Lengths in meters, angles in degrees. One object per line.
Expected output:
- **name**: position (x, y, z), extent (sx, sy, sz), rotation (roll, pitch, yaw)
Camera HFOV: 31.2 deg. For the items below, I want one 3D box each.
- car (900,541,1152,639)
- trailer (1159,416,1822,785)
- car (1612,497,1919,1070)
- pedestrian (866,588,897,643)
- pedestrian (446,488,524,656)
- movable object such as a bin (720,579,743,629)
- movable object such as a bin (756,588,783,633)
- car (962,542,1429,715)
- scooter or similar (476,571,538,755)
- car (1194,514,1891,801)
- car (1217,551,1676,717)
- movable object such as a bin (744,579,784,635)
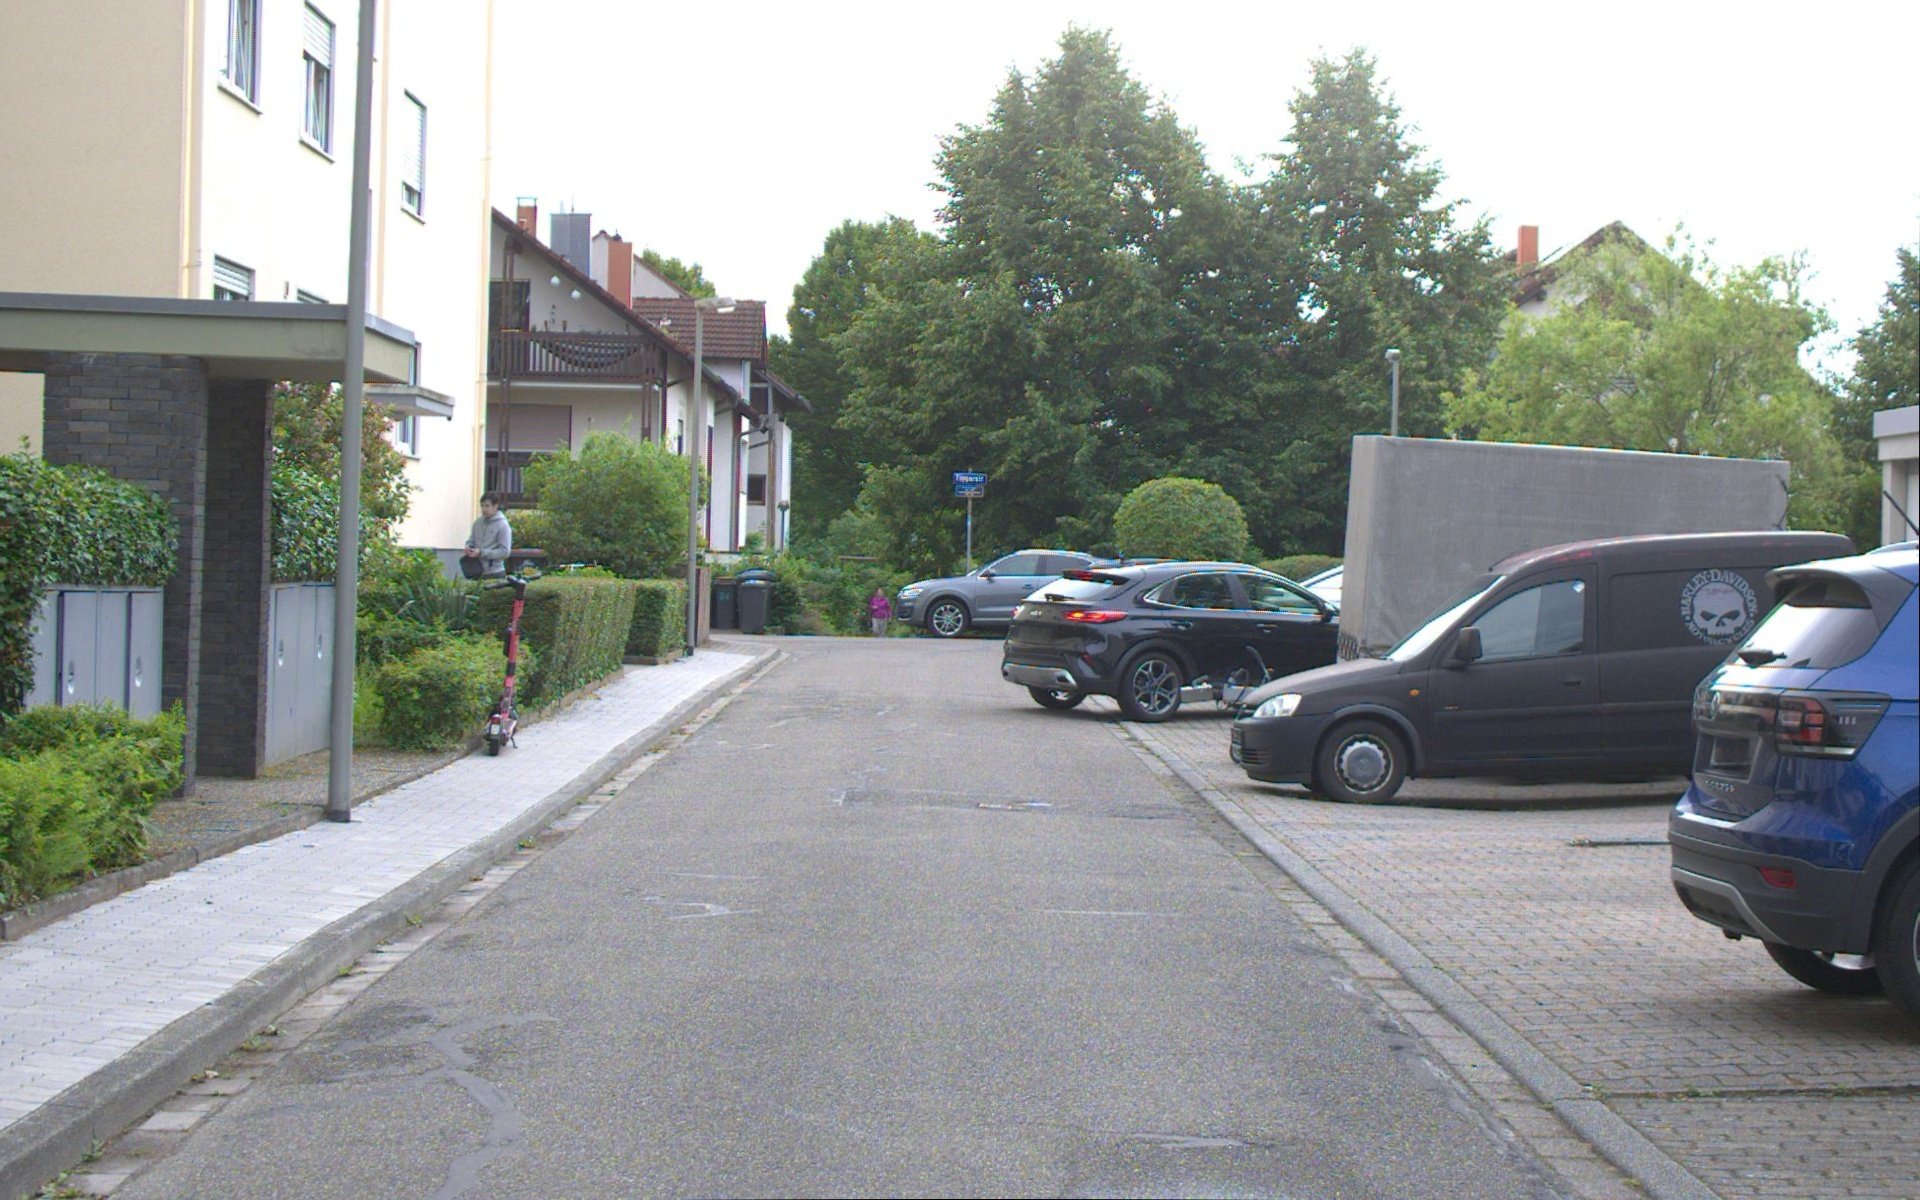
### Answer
- **car**: position (1.108, -0.161, 59.392), extent (4.237, 1.526, 1.747), rotation (2, -1, -1)
- **trailer**: position (3.902, -0.010, 25.923), extent (4.609, 2.516, 1.943), rotation (2, 1, 0)
- **car**: position (4.333, 0.507, 11.229), extent (3.987, 1.697, 2.000), rotation (-1, 1, -1)
- **pedestrian**: position (-2.203, 0.439, 96.020), extent (0.815, 1.512, 0.438), rotation (1, 0, -3)
- **pedestrian**: position (-5.081, -0.301, 36.786), extent (0.679, 1.743, 0.756), rotation (3, 0, -2)
- **movable object such as a bin**: position (-4.184, 0.069, 62.982), extent (0.386, 0.886, 0.379), rotation (3, 0, -3)
- **movable object such as a bin**: position (-3.507, 0.193, 63.327), extent (0.459, 0.795, 0.379), rotation (3, 0, -3)
- **car**: position (2.246, 0.230, 32.873), extent (3.986, 1.546, 2.000), rotation (-1, 1, -24)
- **scooter or similar**: position (-3.089, 0.416, 23.481), extent (0.272, 1.206, 1.164), rotation (1, 1, -1)
- **car**: position (3.821, 0.350, 23.126), extent (4.310, 1.795, 2.000), rotation (-1, 1, -1)
- **car**: position (5.050, 0.334, 36.172), extent (4.537, 1.583, 1.988), rotation (1, 1, 1)
- **movable object such as a bin**: position (-3.496, 0.124, 61.416), extent (0.638, 0.950, 0.723), rotation (3, 0, -1)
